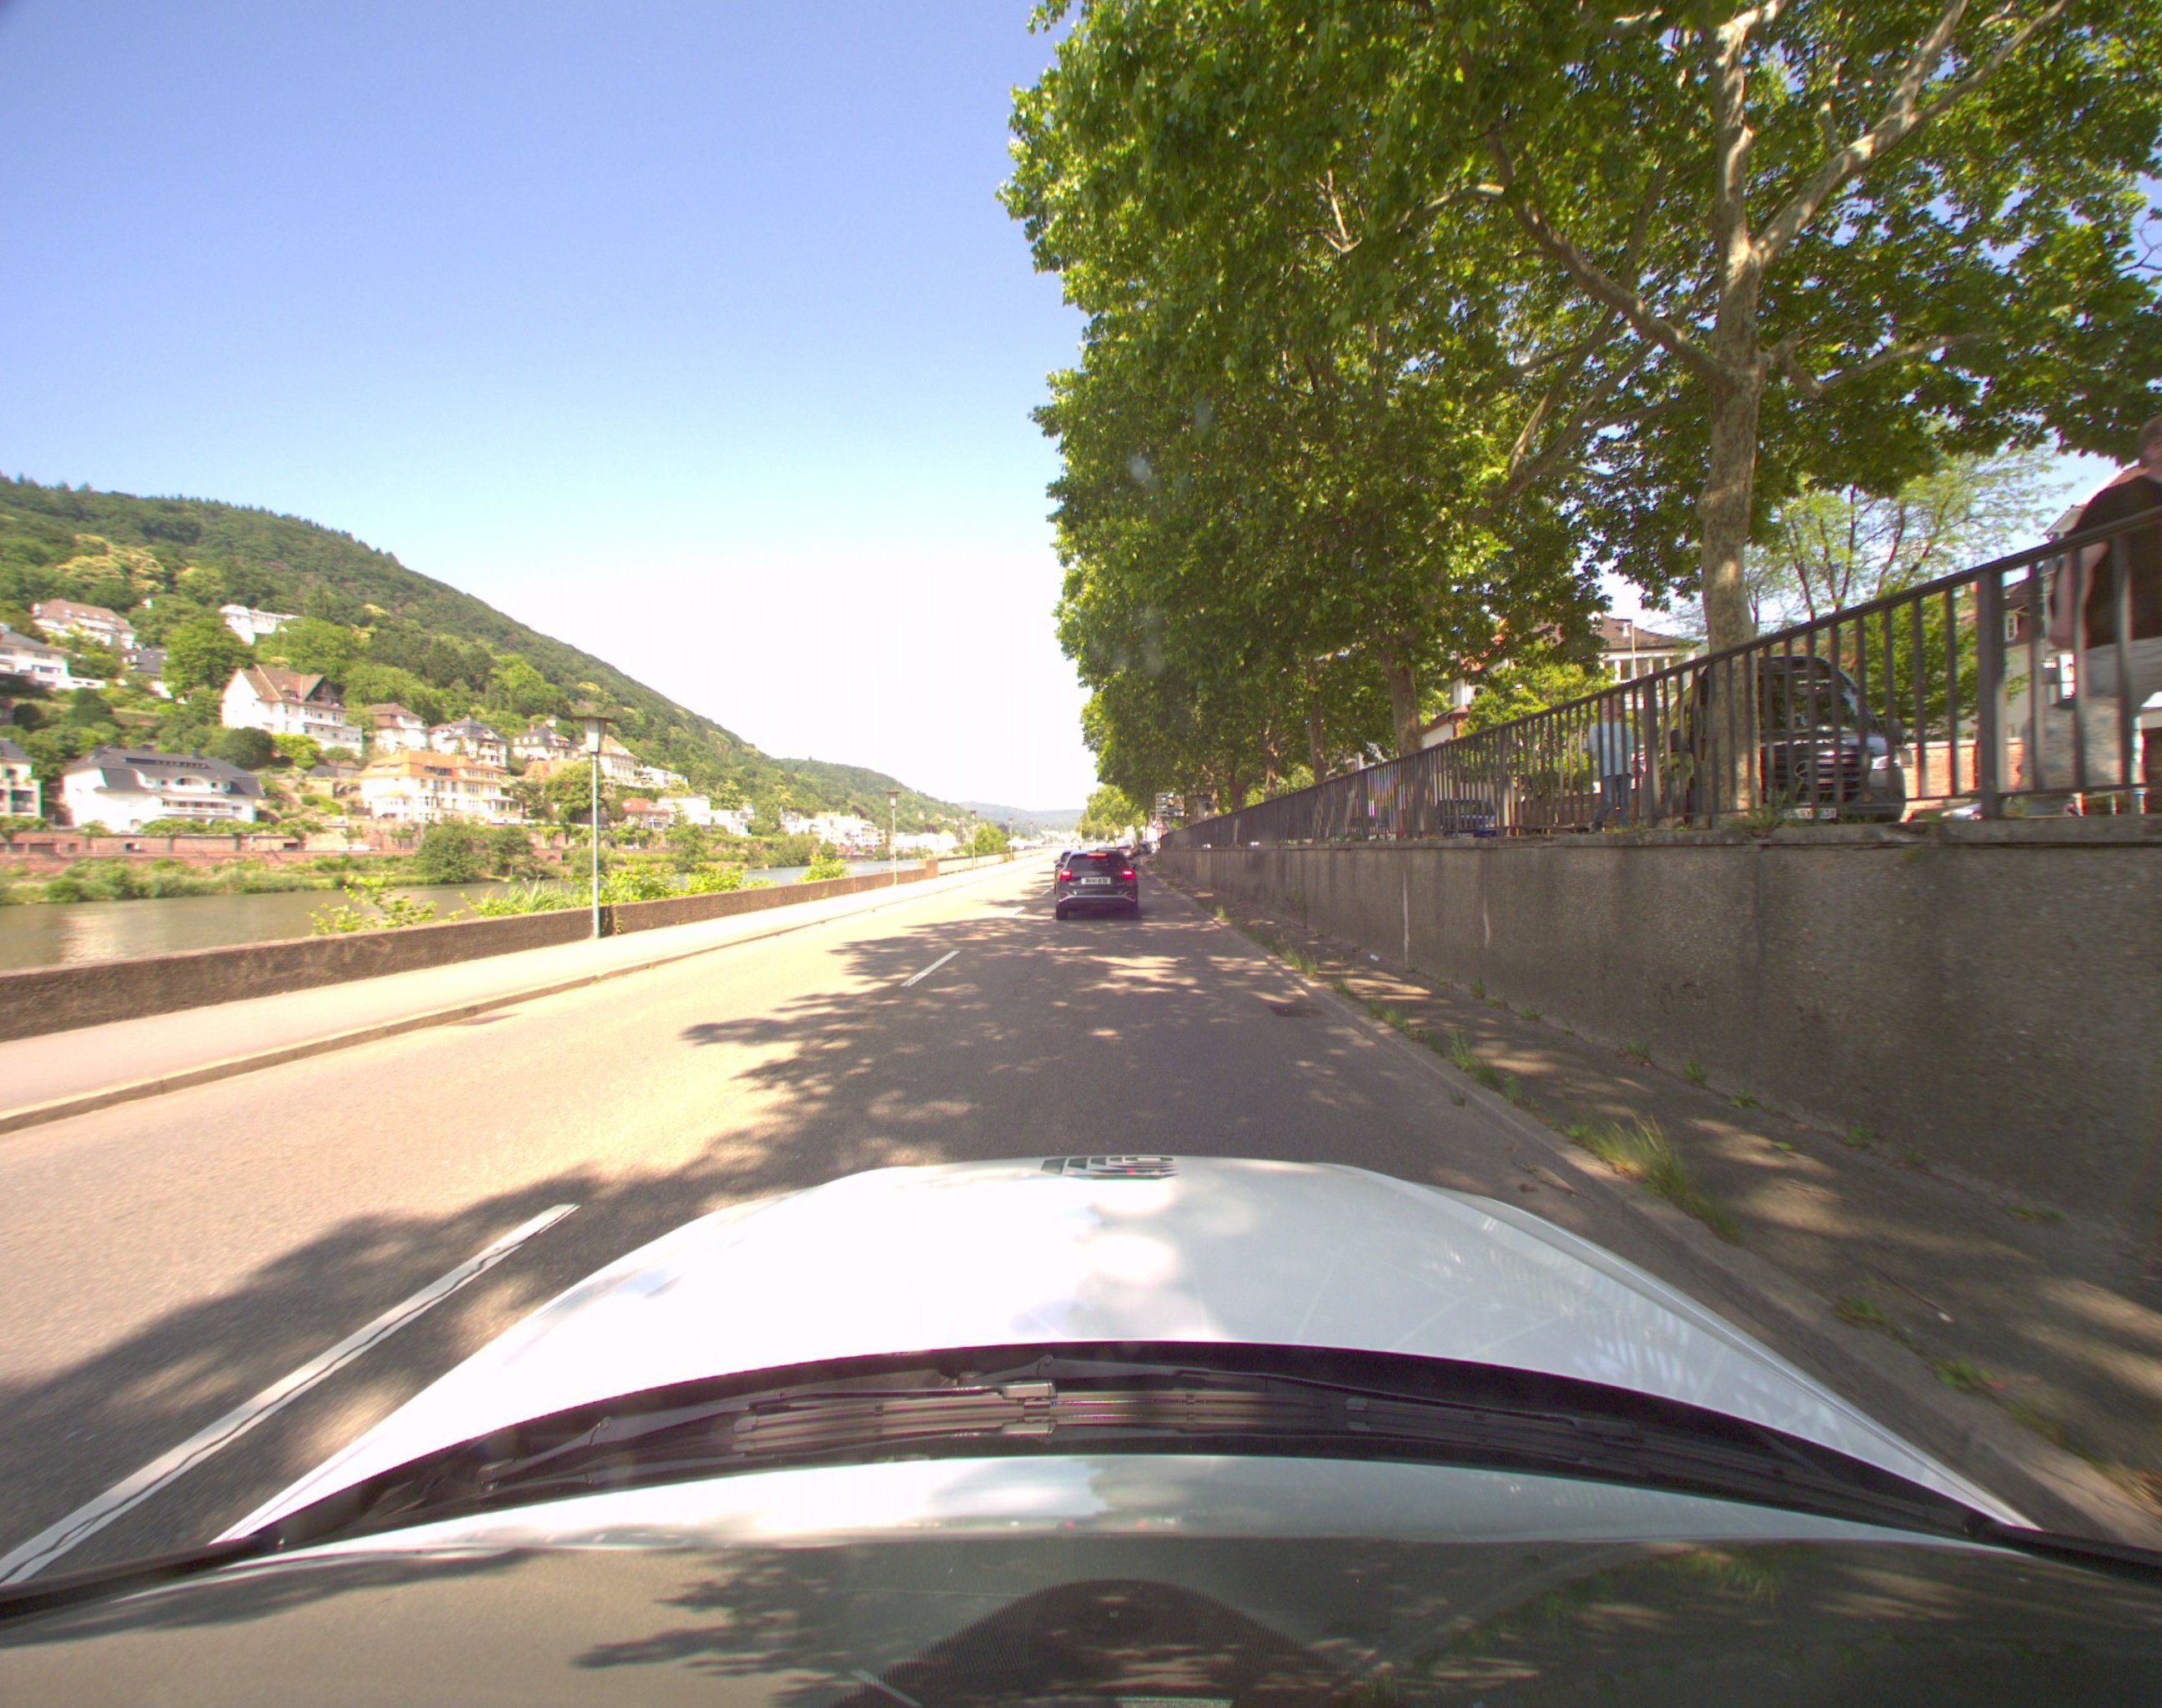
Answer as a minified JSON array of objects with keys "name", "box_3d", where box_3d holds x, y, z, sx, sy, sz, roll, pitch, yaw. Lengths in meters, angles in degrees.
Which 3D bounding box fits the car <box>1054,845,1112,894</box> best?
[{"name":"car","box_3d":[0.113,0.499,28.831,1.822,1.511,4.001,-4,0,1]}]

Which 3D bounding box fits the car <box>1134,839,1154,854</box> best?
[{"name":"car","box_3d":[9.552,-1.177,123.784,2.652,2.013,5.826,-4,0,1]}]

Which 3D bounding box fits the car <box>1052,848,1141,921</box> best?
[{"name":"car","box_3d":[0.366,0.620,18.829,1.822,1.486,4.001,0,0,1]}]

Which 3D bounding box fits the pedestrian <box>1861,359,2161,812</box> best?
[{"name":"pedestrian","box_3d":[4.307,-1.022,3.449,0.933,1.579,1.028,-4,0,0]}]

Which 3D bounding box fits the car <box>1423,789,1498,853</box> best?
[{"name":"car","box_3d":[10.125,-0.810,21.611,1.633,1.500,3.841,-1,0,27]}]

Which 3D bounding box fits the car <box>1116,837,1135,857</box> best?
[{"name":"car","box_3d":[5.138,-0.856,95.122,1.986,2.169,4.001,-4,0,1]}]

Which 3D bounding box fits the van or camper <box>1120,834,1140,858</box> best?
[{"name":"van or camper","box_3d":[6.214,-1.076,104.030,2.300,2.847,4.250,-4,0,3]}]

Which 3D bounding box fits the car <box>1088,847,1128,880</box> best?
[{"name":"car","box_3d":[1.270,0.430,39.237,1.822,1.486,4.001,0,0,1]}]

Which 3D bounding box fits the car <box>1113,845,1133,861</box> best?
[{"name":"car","box_3d":[3.991,-0.082,77.870,1.822,1.444,4.001,0,0,1]}]

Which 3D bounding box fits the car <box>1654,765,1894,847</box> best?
[{"name":"car","box_3d":[15.305,-0.972,18.384,1.829,1.512,4.434,-3,0,4]}]

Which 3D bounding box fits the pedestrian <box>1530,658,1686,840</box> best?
[{"name":"pedestrian","box_3d":[4.545,-0.860,7.093,0.678,1.424,0.949,-4,0,1]}]

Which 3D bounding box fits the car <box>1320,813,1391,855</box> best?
[{"name":"car","box_3d":[10.455,-0.738,30.867,1.757,1.469,4.025,0,1,30]}]

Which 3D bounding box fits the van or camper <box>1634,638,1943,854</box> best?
[{"name":"van or camper","box_3d":[10.128,-1.183,12.469,2.315,2.184,7.402,1,0,31]}]

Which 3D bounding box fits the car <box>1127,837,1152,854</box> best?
[{"name":"car","box_3d":[8.134,-1.207,113.744,3.087,2.013,5.826,-4,0,1]}]
